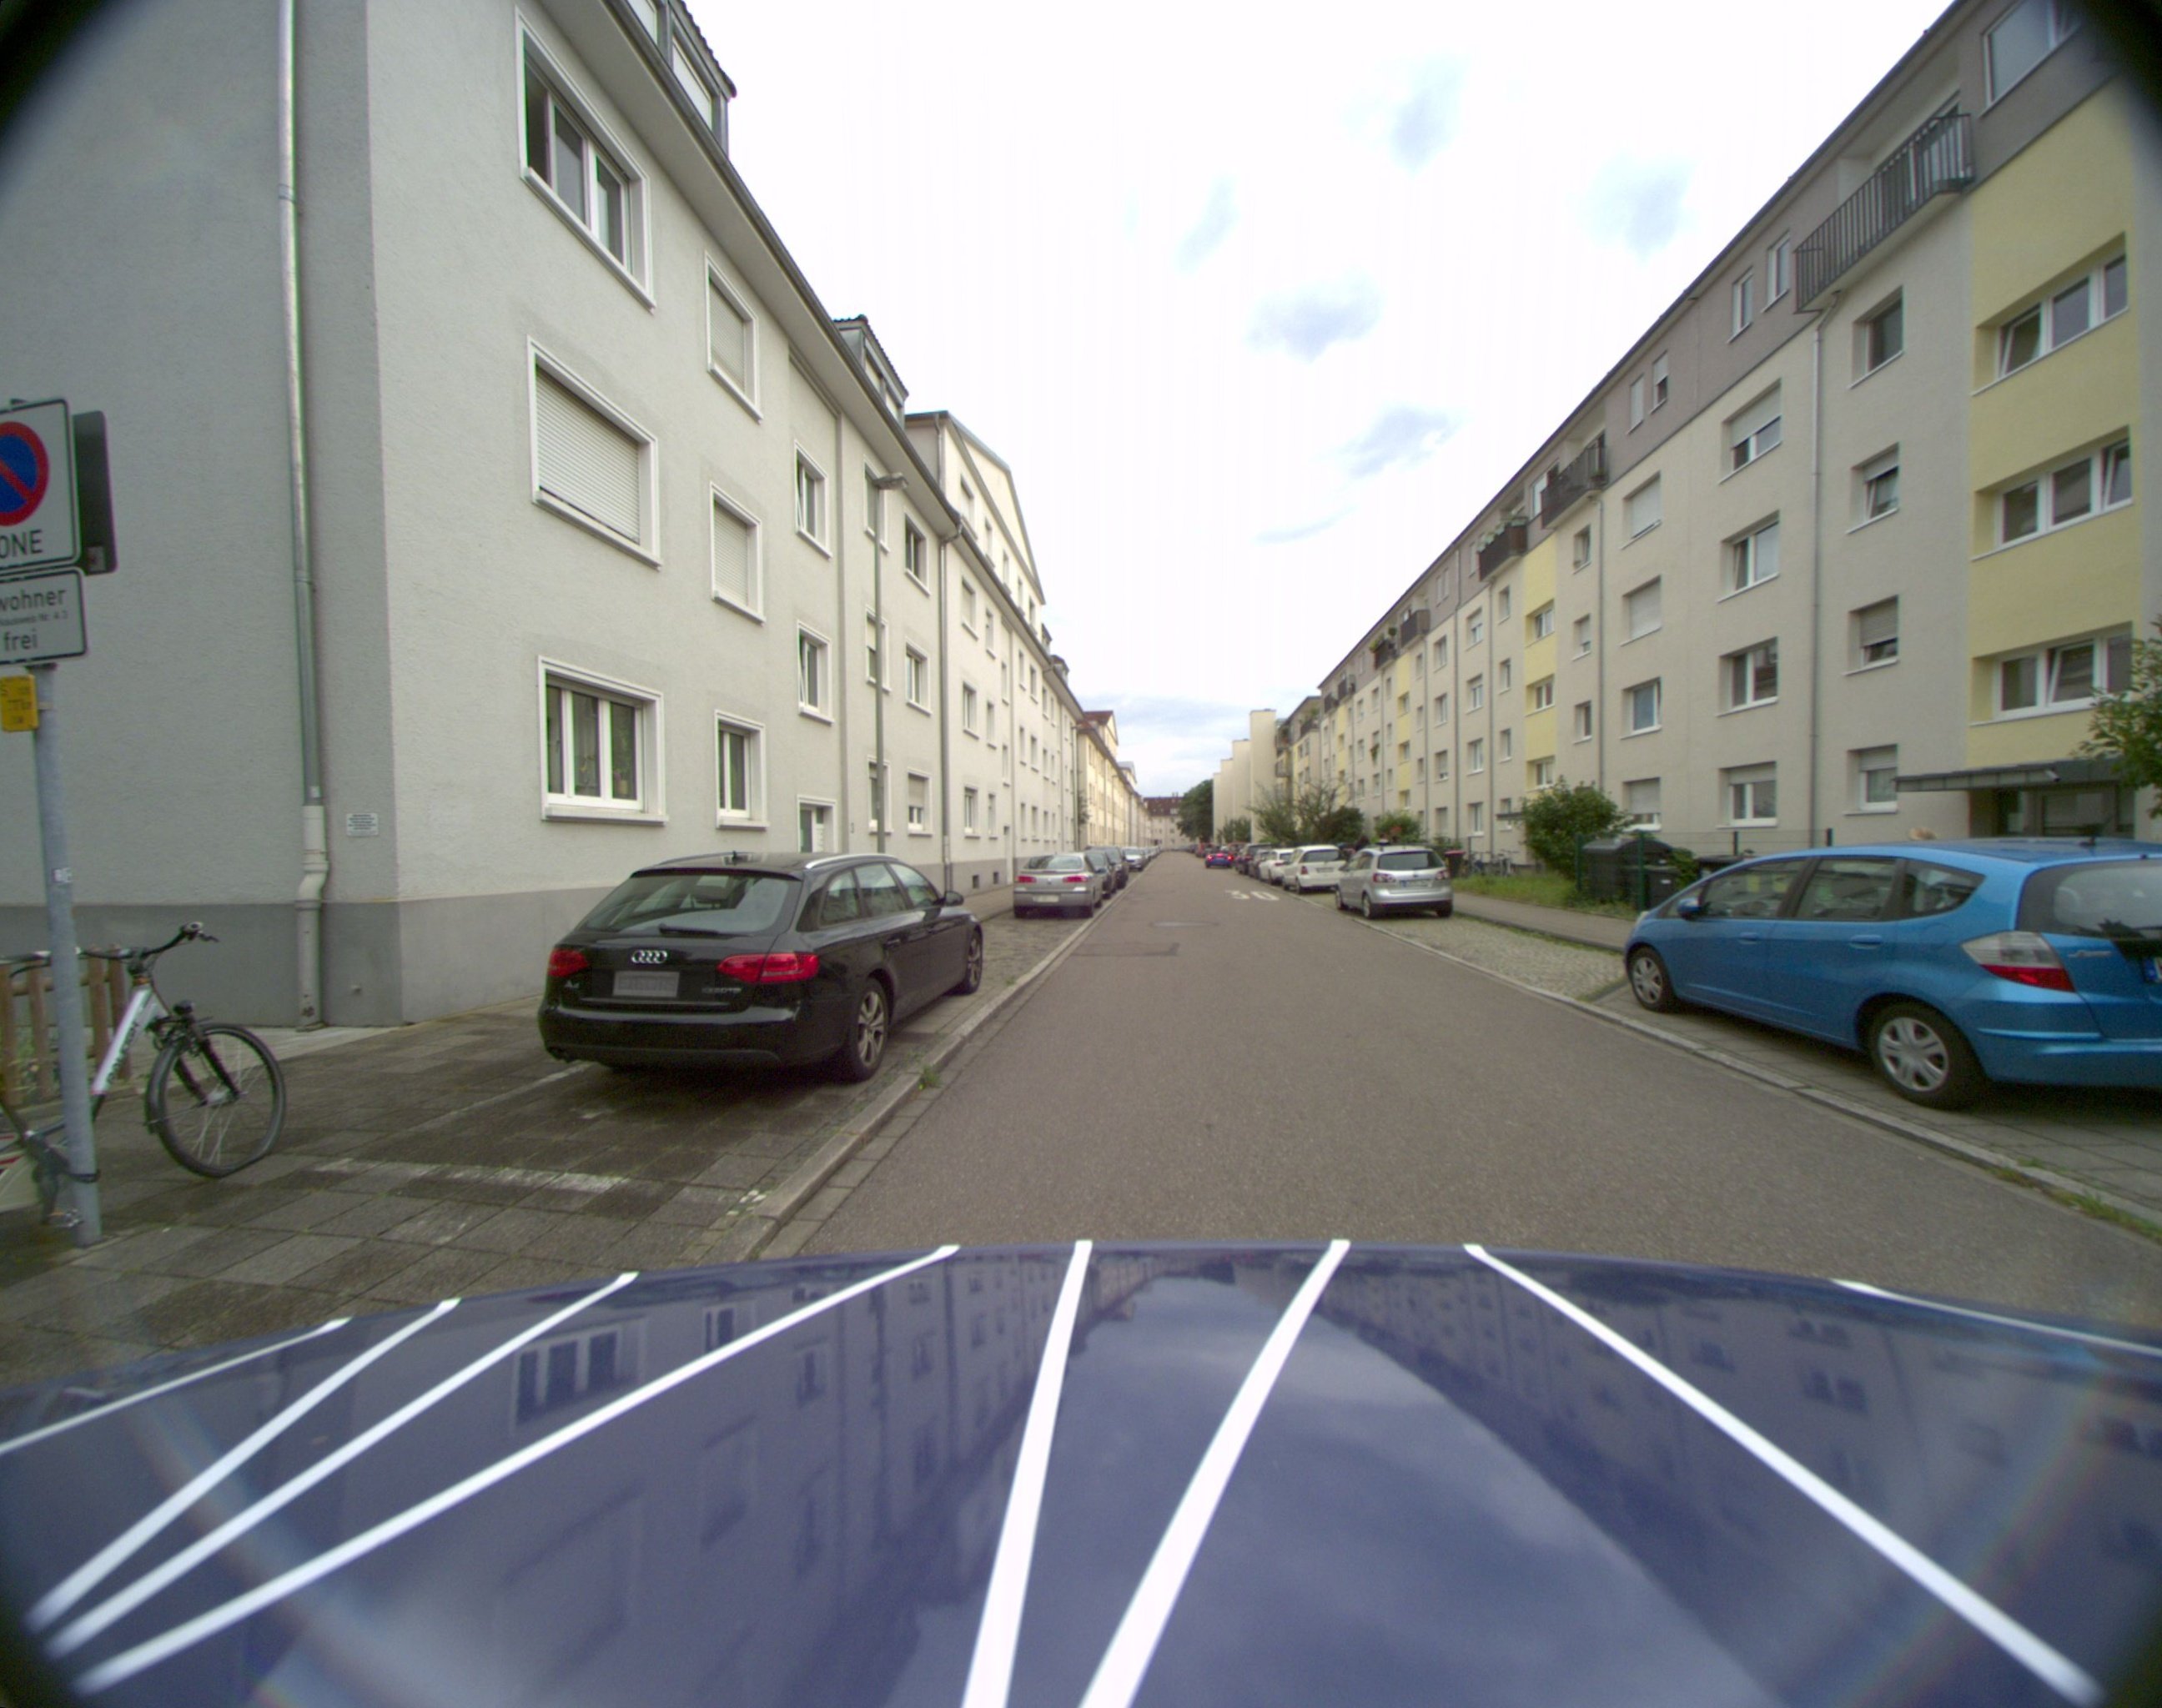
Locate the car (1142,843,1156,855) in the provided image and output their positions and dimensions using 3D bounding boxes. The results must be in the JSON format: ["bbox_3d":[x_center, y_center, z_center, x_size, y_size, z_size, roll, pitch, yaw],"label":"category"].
[{"bbox_3d":[8.604,-0.635,96.588,1.736,1.443,4.219,0,1,5],"label":"car"}]

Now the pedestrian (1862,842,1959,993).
[{"bbox_3d":[8.776,0.652,8.055,0.447,1.541,0.568,-1,1,11],"label":"pedestrian"}]

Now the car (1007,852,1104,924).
[{"bbox_3d":[-0.469,0.700,17.901,1.736,1.454,4.432,0,1,5],"label":"car"}]

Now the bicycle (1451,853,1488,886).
[{"bbox_3d":[12.766,0.491,25.015,0.479,1.018,1.755,-1,1,6],"label":"bicycle"}]

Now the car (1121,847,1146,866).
[{"bbox_3d":[4.115,0.144,58.712,1.736,1.418,4.219,0,1,6],"label":"car"}]

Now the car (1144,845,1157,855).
[{"bbox_3d":[9.761,-0.588,106.318,1.736,1.443,4.219,0,1,5],"label":"car"}]

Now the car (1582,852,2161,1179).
[{"bbox_3d":[5.674,0.778,5.533,1.734,1.454,3.958,-3,0,7],"label":"car"}]

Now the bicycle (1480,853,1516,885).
[{"bbox_3d":[13.644,0.470,24.890,0.421,1.018,1.559,-1,1,3],"label":"bicycle"}]

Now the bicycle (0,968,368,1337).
[{"bbox_3d":[-3.859,1.100,2.768,0.568,0.998,1.889,1,3,7],"label":"bicycle"}]

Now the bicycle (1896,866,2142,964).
[{"bbox_3d":[11.794,0.715,9.704,0.659,1.064,2.176,-1,0,7],"label":"bicycle"}]

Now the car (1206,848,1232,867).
[{"bbox_3d":[9.991,0.226,55.119,1.679,1.307,3.910,-1,0,7],"label":"car"}]

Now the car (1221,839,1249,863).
[{"bbox_3d":[12.194,-0.216,60.384,1.706,1.796,3.543,-1,0,4],"label":"car"}]

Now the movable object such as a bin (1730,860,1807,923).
[{"bbox_3d":[12.504,0.666,13.837,0.843,1.110,0.598,-1,1,4],"label":"movable object such as a bin"}]

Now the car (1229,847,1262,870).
[{"bbox_3d":[10.767,0.286,49.927,1.574,1.389,3.543,-1,0,4],"label":"car"}]

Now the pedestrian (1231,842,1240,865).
[{"bbox_3d":[11.320,-0.039,55.652,0.603,1.657,0.622,-1,1,4],"label":"pedestrian"}]

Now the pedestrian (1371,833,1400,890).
[{"bbox_3d":[10.092,0.246,25.191,0.708,1.843,0.763,-1,1,7],"label":"pedestrian"}]

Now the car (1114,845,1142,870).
[{"bbox_3d":[3.117,0.229,49.851,1.736,1.538,3.678,0,1,5],"label":"car"}]

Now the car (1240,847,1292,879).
[{"bbox_3d":[8.976,0.405,37.203,1.729,1.445,4.483,-1,1,4],"label":"car"}]

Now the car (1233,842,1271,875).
[{"bbox_3d":[9.667,0.238,43.192,1.574,1.770,4.454,-1,0,6],"label":"car"}]

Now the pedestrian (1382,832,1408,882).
[{"bbox_3d":[10.627,0.110,25.722,0.615,1.647,0.803,-1,1,7],"label":"pedestrian"}]

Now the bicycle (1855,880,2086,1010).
[{"bbox_3d":[9.034,0.862,7.840,0.537,1.113,1.820,-1,0,11],"label":"bicycle"}]

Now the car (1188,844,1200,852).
[{"bbox_3d":[21.445,-1.176,144.570,1.745,1.534,3.638,-1,0,1],"label":"car"}]

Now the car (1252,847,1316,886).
[{"bbox_3d":[8.466,0.470,32.043,1.722,1.501,4.688,-1,0,4],"label":"car"}]

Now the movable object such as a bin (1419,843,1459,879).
[{"bbox_3d":[14.170,0.255,30.129,1.059,1.367,1.189,-1,2,2],"label":"movable object such as a bin"}]

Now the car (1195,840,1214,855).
[{"bbox_3d":[17.248,-0.893,106.515,2.187,2.020,4.424,-1,0,4],"label":"car"}]

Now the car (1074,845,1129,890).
[{"bbox_3d":[0.861,0.477,29.126,1.852,1.590,4.161,0,1,5],"label":"car"}]

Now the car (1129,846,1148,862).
[{"bbox_3d":[5.329,-0.049,69.893,1.736,1.402,4.219,0,1,5],"label":"car"}]

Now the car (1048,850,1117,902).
[{"bbox_3d":[0.142,0.611,23.700,1.785,1.454,4.324,0,1,5],"label":"car"}]

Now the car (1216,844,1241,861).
[{"bbox_3d":[12.868,-0.141,66.540,1.706,1.436,3.543,-1,0,4],"label":"car"}]

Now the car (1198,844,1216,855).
[{"bbox_3d":[16.591,-0.576,100.316,2.012,1.436,4.198,-1,0,4],"label":"car"}]

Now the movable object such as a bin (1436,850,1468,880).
[{"bbox_3d":[14.188,0.417,29.056,0.871,1.103,0.787,-1,2,3],"label":"movable object such as a bin"}]

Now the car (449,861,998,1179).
[{"bbox_3d":[-2.065,0.840,6.145,1.864,1.454,4.727,0,1,5],"label":"car"}]

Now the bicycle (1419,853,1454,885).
[{"bbox_3d":[11.818,0.490,25.312,0.489,1.018,1.879,-1,1,7],"label":"bicycle"}]

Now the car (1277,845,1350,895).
[{"bbox_3d":[7.989,0.499,26.409,1.688,1.629,3.728,-1,1,5],"label":"car"}]

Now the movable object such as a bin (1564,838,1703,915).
[{"bbox_3d":[10.827,0.425,15.010,1.592,1.413,1.672,-1,1,6],"label":"movable object such as a bin"}]

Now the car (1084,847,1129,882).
[{"bbox_3d":[1.199,0.424,34.182,1.736,1.478,3.758,0,1,7],"label":"car"}]

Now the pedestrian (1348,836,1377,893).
[{"bbox_3d":[9.512,0.339,25.734,0.641,1.853,0.974,-3,1,7],"label":"pedestrian"}]

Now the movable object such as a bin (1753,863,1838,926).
[{"bbox_3d":[12.382,0.686,13.192,0.865,1.045,0.634,-1,1,5],"label":"movable object such as a bin"}]

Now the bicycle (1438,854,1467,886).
[{"bbox_3d":[12.282,0.503,25.155,0.357,1.018,1.498,-1,1,6],"label":"bicycle"}]

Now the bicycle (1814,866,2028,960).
[{"bbox_3d":[11.016,0.720,10.109,0.659,1.064,2.176,-1,0,7],"label":"bicycle"}]

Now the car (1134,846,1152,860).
[{"bbox_3d":[6.354,-0.139,77.538,1.736,1.363,4.219,0,1,5],"label":"car"}]

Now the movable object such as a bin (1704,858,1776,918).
[{"bbox_3d":[12.558,0.645,14.499,0.843,1.110,0.598,-1,1,4],"label":"movable object such as a bin"}]

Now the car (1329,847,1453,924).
[{"bbox_3d":[6.983,0.636,17.517,1.657,1.542,3.917,-2,0,7],"label":"car"}]

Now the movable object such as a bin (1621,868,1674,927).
[{"bbox_3d":[10.202,0.772,13.702,0.538,1.027,0.598,-1,1,5],"label":"movable object such as a bin"}]
